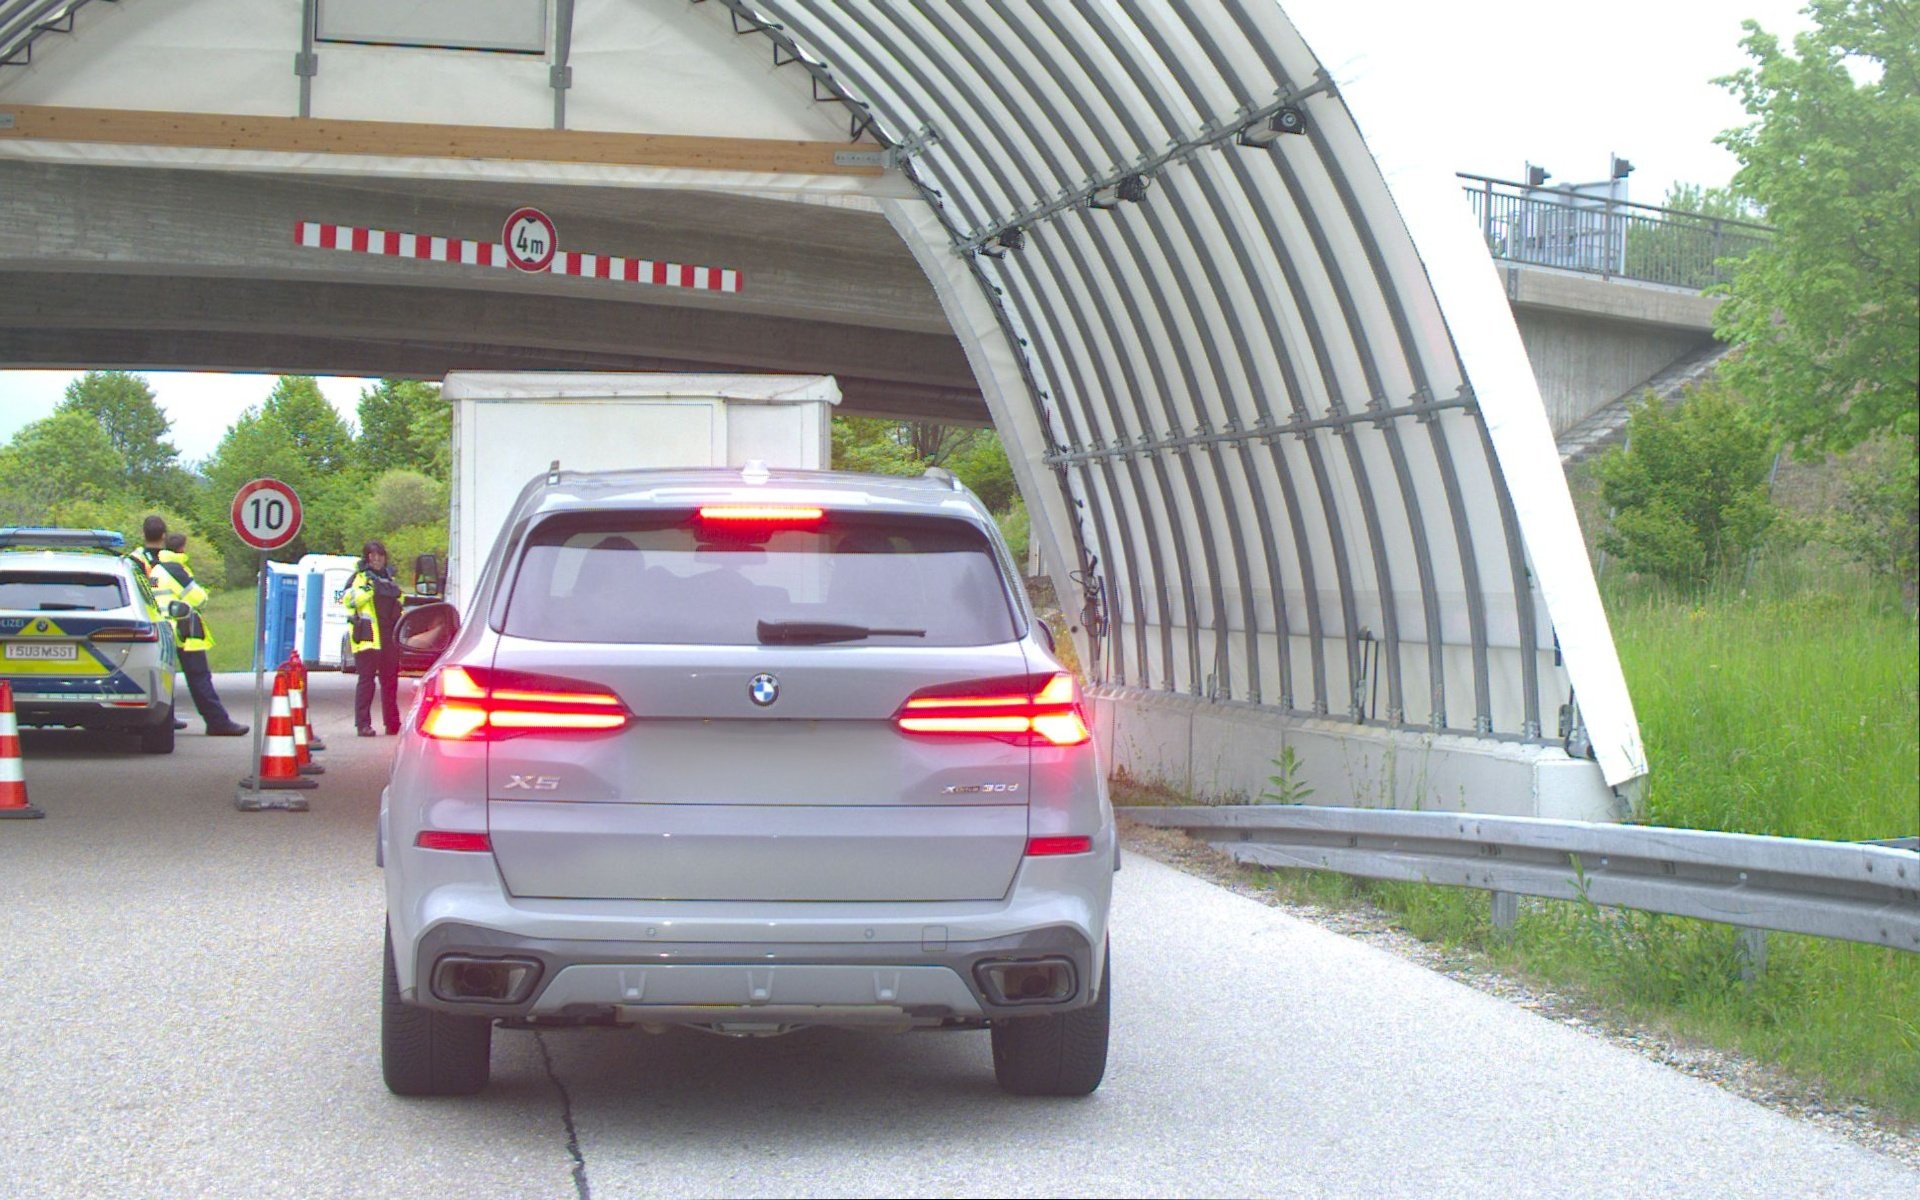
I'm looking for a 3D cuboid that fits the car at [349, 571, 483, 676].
[{"bbox_3d":[-9.278,0.370,58.422,1.993,1.716,3.897,0,0,-13],"label":"car"}]

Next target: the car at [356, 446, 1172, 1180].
[{"bbox_3d":[-0.779,0.490,10.366,1.993,1.759,4.001,0,0,-9],"label":"car"}]

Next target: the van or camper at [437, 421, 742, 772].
[{"bbox_3d":[-3.078,-0.047,27.504,2.103,2.510,5.552,0,0,-9],"label":"van or camper"}]

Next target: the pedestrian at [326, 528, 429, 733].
[{"bbox_3d":[-4.966,0.253,29.298,0.754,1.716,0.782,0,0,-18],"label":"pedestrian"}]

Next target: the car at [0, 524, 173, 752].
[{"bbox_3d":[-7.156,0.257,26.772,1.877,1.641,4.001,0,0,-15],"label":"car"}]

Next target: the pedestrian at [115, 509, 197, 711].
[{"bbox_3d":[-7.024,0.084,30.061,0.609,1.748,0.666,0,0,-6],"label":"pedestrian"}]

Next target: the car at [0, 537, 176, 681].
[{"bbox_3d":[-13.862,0.119,49.186,4.807,2.007,1.840,0,0,7],"label":"car"}]

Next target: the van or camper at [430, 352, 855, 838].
[{"bbox_3d":[-2.169,-0.054,21.428,2.229,2.543,6.612,0,0,-9],"label":"van or camper"}]

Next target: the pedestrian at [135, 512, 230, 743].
[{"bbox_3d":[-6.554,0.225,28.958,0.749,1.912,0.763,0,0,-15],"label":"pedestrian"}]
